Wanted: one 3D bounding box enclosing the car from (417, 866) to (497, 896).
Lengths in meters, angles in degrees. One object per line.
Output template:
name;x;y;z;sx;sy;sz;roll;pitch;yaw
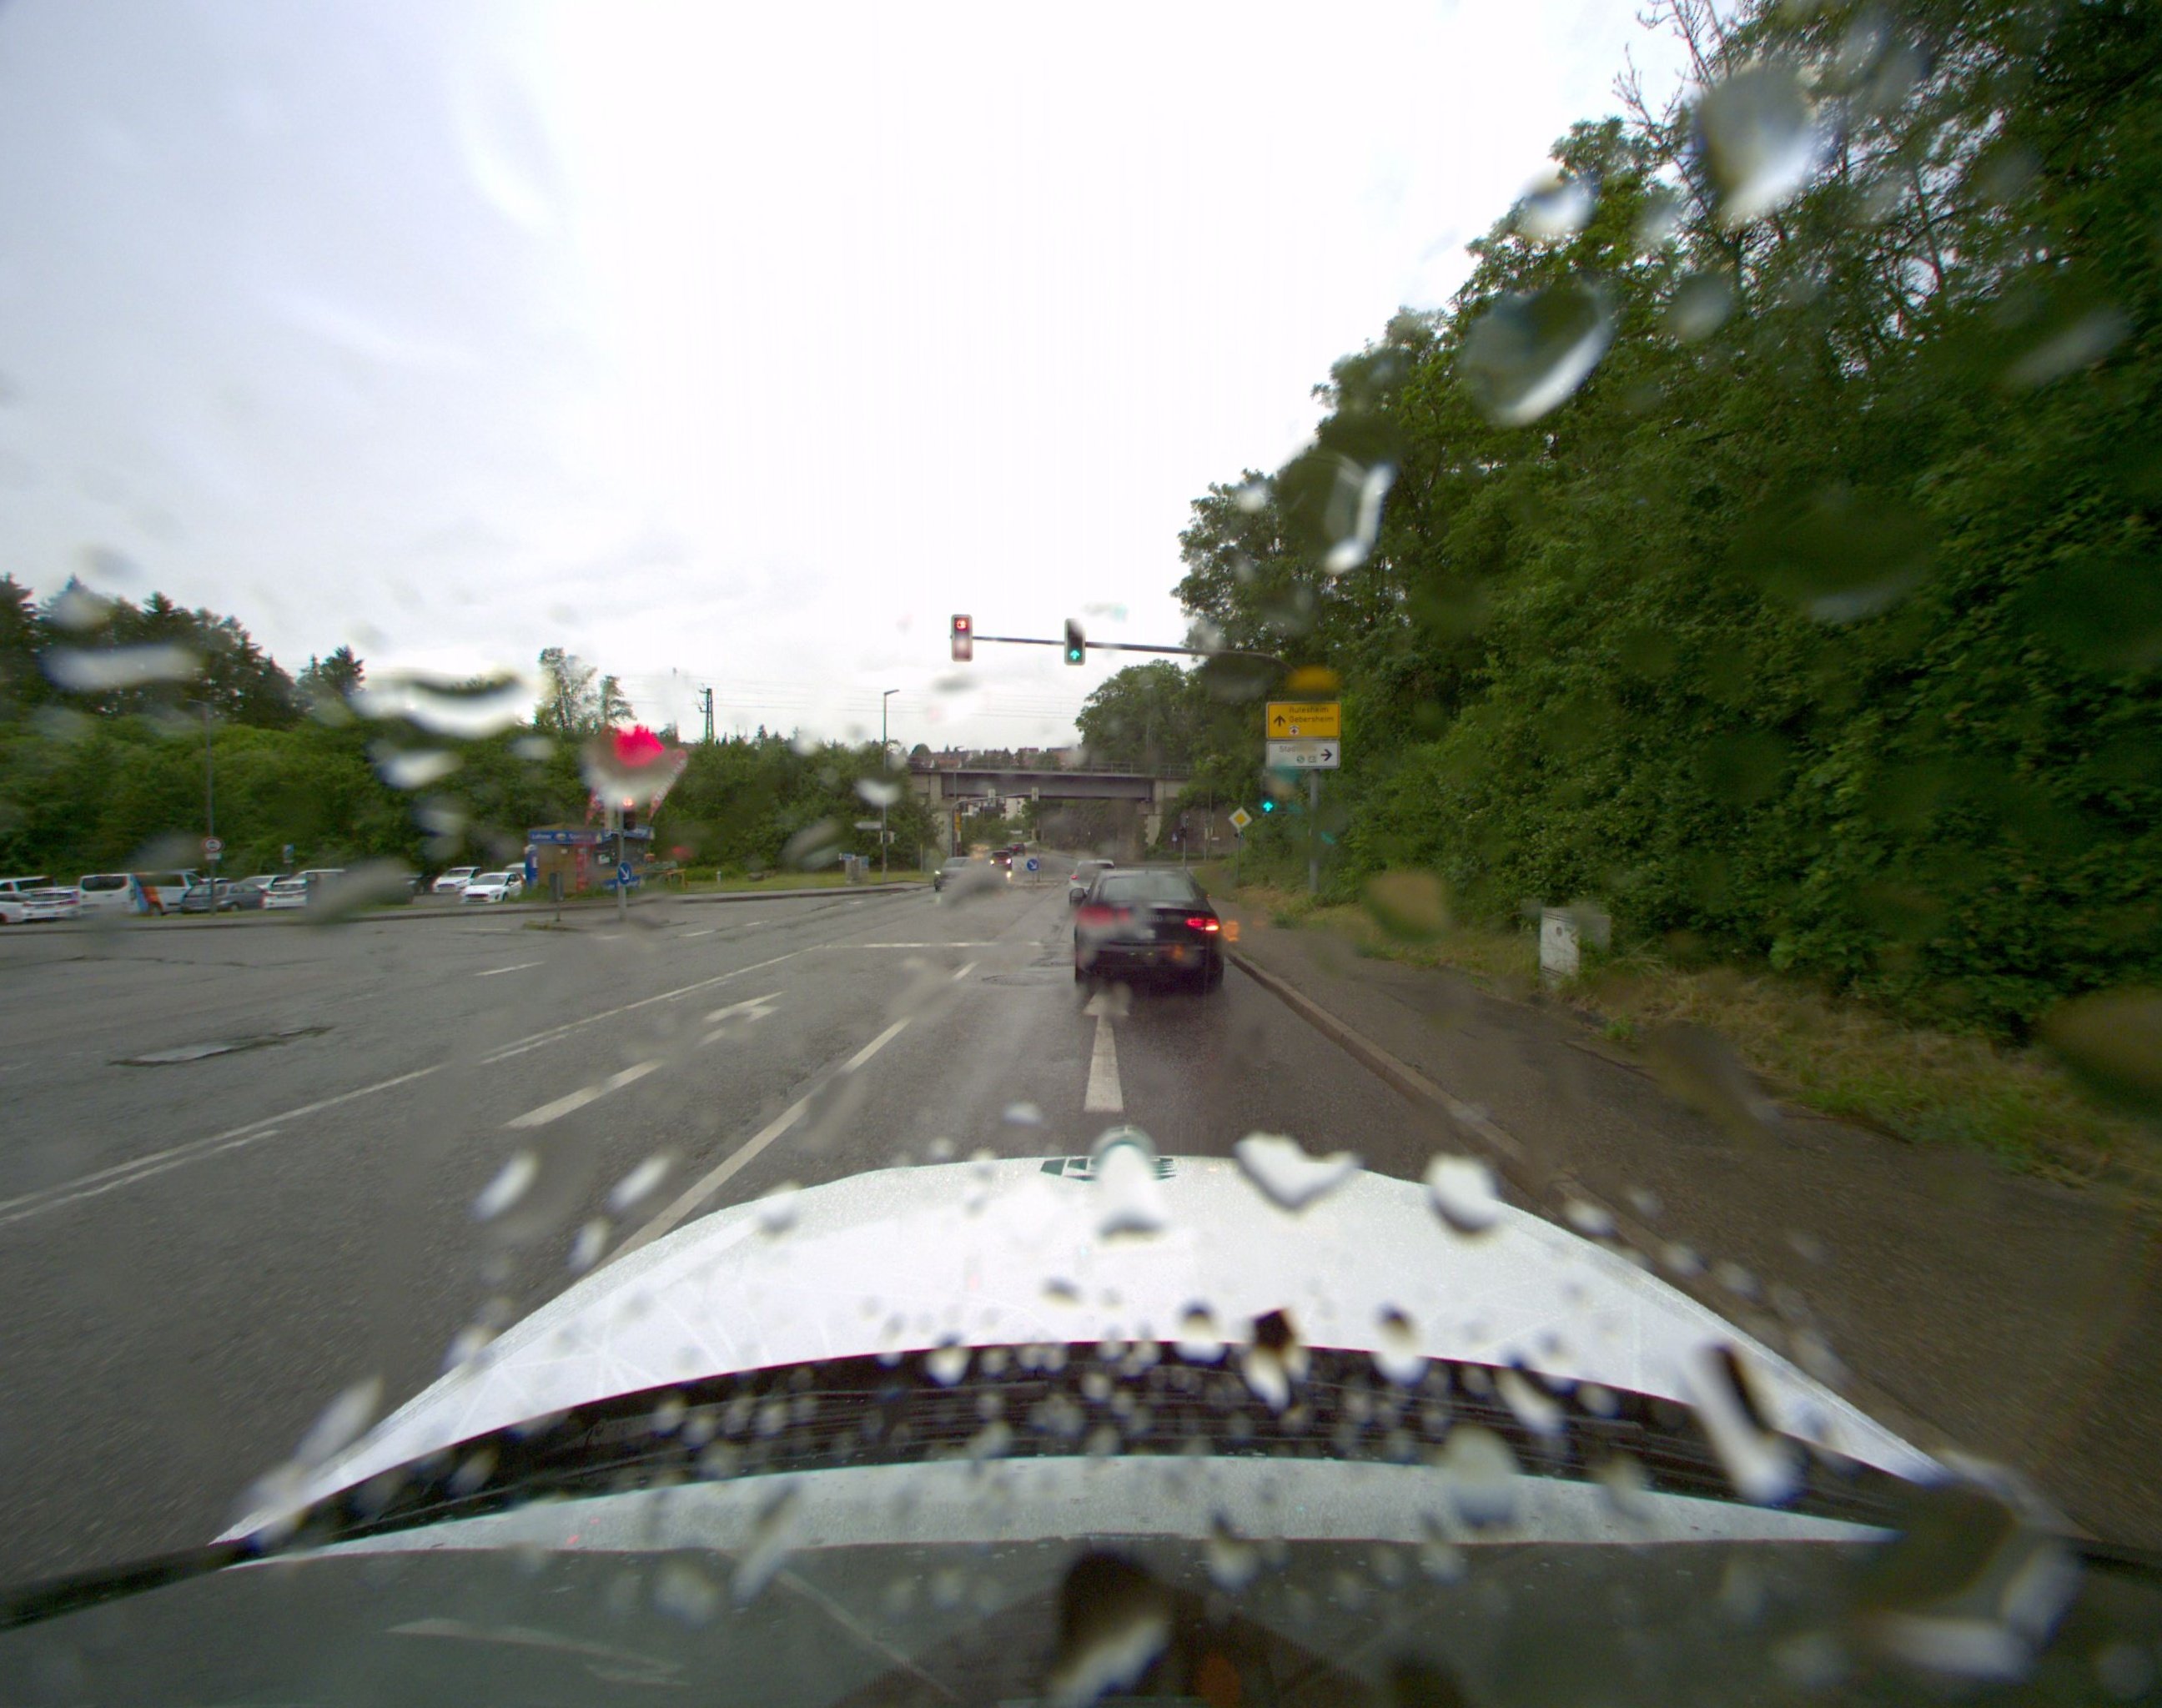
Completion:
car;-35.502;1.508;46.460;1.994;1.585;3.984;-1;-1;-11

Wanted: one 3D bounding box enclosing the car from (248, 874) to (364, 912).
car;-34.731;1.700;36.662;1.937;1.585;3.892;-1;-1;-11

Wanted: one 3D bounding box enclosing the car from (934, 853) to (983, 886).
car;-5.867;0.709;39.443;1.633;1.470;4.001;-1;0;1

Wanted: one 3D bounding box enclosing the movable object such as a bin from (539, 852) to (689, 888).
movable object such as a bin;-22.740;0.759;39.892;2.716;1.628;5.816;-2;-2;41

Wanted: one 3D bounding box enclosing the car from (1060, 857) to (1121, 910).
car;0.349;0.935;26.783;1.816;1.585;4.001;-1;-1;2

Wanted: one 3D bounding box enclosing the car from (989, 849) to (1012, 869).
car;-7.079;0.426;71.876;1.990;1.628;3.993;-2;0;-5

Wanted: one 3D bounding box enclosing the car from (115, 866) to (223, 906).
car;-49.411;1.690;44.243;1.997;2.013;3.980;-1;0;-14

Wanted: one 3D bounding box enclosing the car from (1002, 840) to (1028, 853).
car;-8.589;-0.986;106.116;2.004;1.595;3.967;-2;3;-26

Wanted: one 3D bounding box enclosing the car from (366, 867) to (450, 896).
car;-38.053;1.539;46.191;1.994;1.585;3.984;-1;-1;-11

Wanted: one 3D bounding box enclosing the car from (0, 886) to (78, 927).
car;-44.469;2.170;33.623;1.837;1.585;3.978;0;-1;-16

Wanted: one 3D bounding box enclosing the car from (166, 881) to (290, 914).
car;-37.270;1.854;35.751;1.751;1.310;3.984;-1;-1;-11

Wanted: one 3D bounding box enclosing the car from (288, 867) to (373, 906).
car;-42.273;1.775;46.008;1.941;2.014;3.849;0;0;-15

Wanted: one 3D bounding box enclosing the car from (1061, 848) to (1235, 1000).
car;0.784;0.797;10.805;1.863;1.617;4.001;-1;-1;2

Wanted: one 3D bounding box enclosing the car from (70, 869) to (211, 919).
car;-39.549;1.649;34.409;1.997;1.949;3.978;0;-1;-16

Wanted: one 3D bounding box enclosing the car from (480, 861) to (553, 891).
car;-32.716;1.243;47.351;1.994;1.585;3.985;-2;0;-11

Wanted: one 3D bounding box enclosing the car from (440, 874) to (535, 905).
car;-27.872;1.611;38.449;1.652;1.340;4.883;-1;-1;-11

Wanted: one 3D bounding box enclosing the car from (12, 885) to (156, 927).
car;-41.834;2.128;34.330;1.858;1.585;3.978;0;-1;-16

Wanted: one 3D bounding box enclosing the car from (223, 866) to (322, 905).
car;-44.873;1.709;45.331;1.995;2.013;3.983;-2;0;-12
